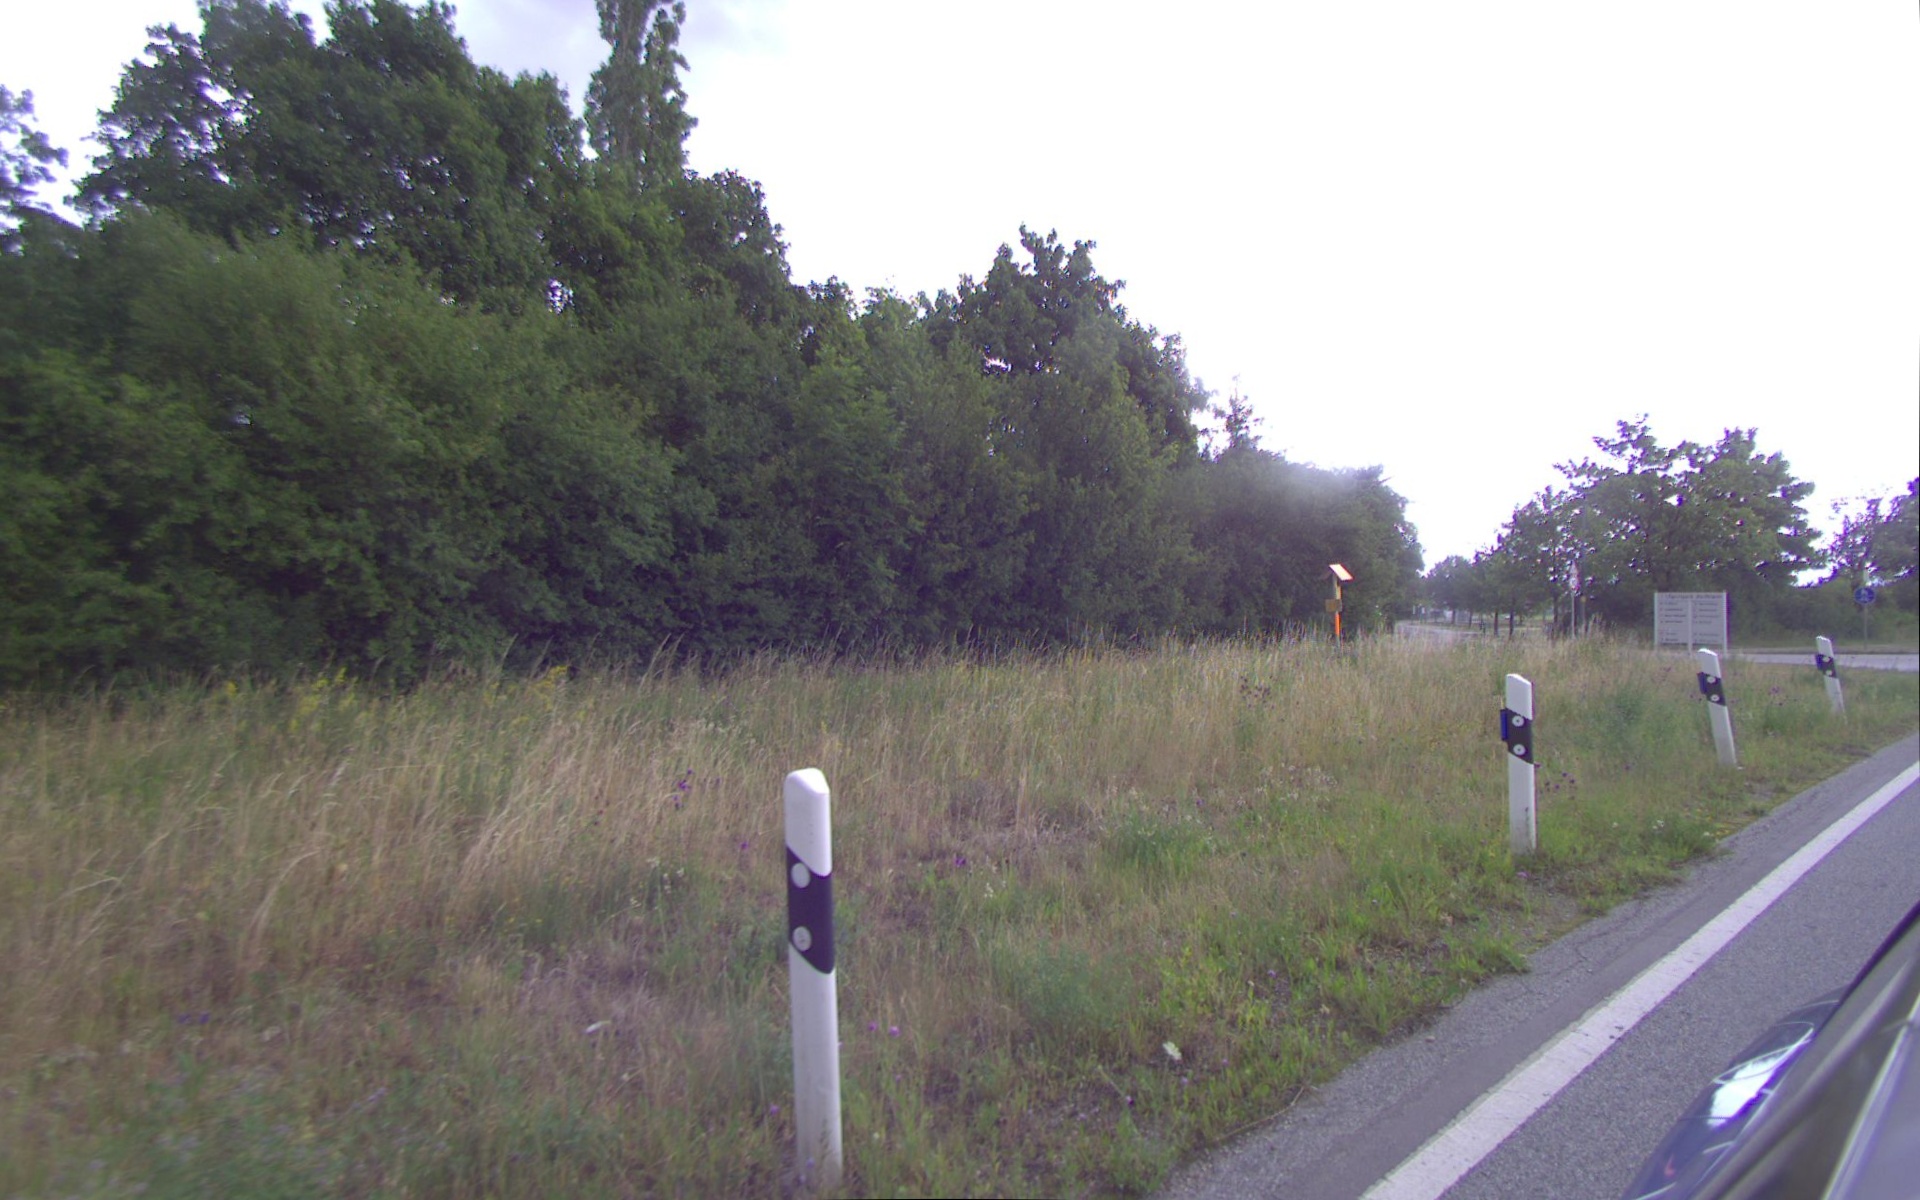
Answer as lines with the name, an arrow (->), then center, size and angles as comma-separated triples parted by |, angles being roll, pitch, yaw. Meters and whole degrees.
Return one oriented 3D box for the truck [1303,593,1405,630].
truck -> 34.736, 0.964, 89.251 | 8.286, 3.149, 3.046 | 0, 0, 26
